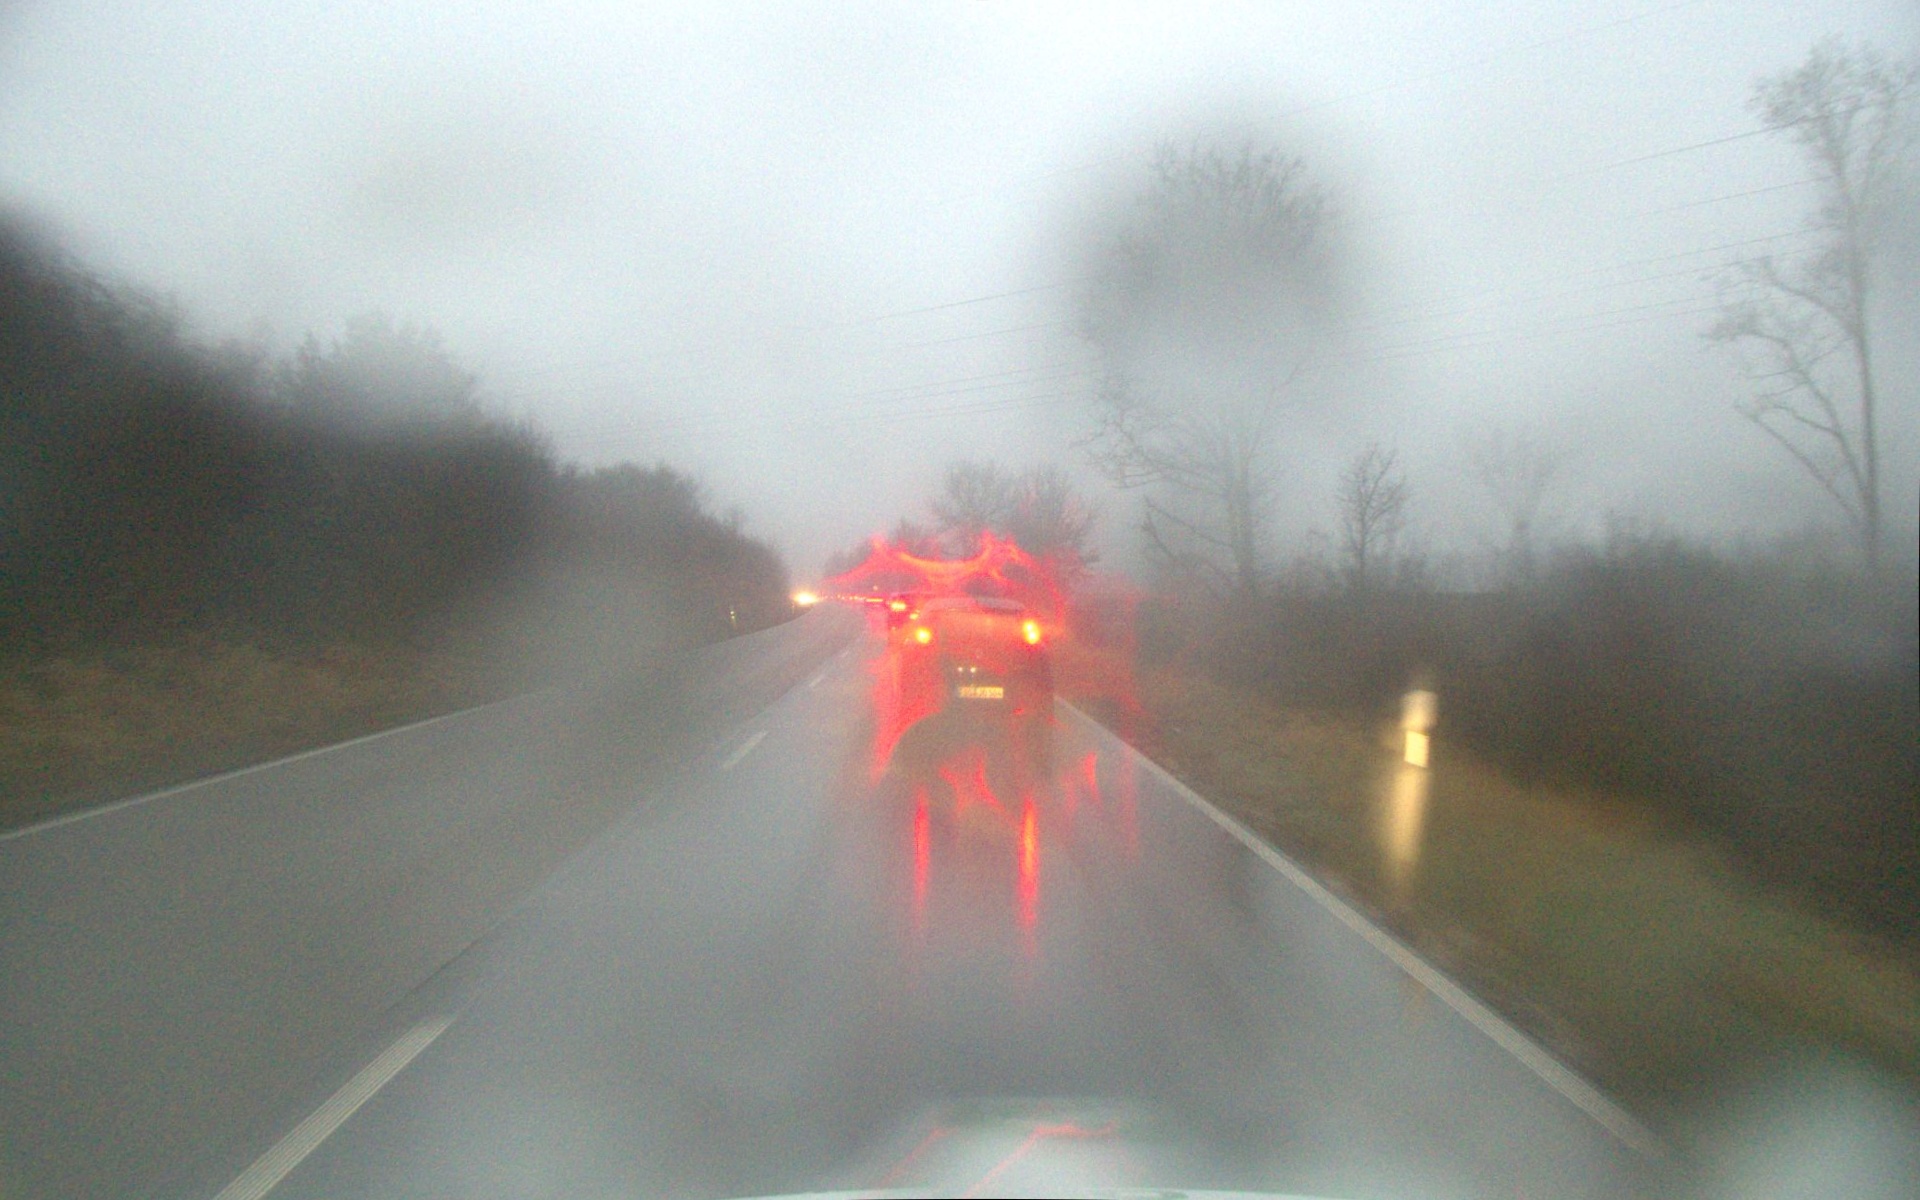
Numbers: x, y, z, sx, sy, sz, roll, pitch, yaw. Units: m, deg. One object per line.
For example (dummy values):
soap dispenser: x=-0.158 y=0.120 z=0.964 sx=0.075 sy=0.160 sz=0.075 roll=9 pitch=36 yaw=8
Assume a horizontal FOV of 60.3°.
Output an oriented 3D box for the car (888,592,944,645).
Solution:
car: x=-1.219 y=0.500 z=47.288 sx=1.515 sy=1.421 sz=3.869 roll=1 pitch=0 yaw=-1

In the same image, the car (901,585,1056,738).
car: x=0.149 y=0.619 z=18.897 sx=1.570 sy=1.548 sz=3.868 roll=1 pitch=0 yaw=-1

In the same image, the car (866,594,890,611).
car: x=-6.977 y=0.238 z=140.882 sx=1.514 sy=1.421 sz=3.871 roll=1 pitch=0 yaw=4
